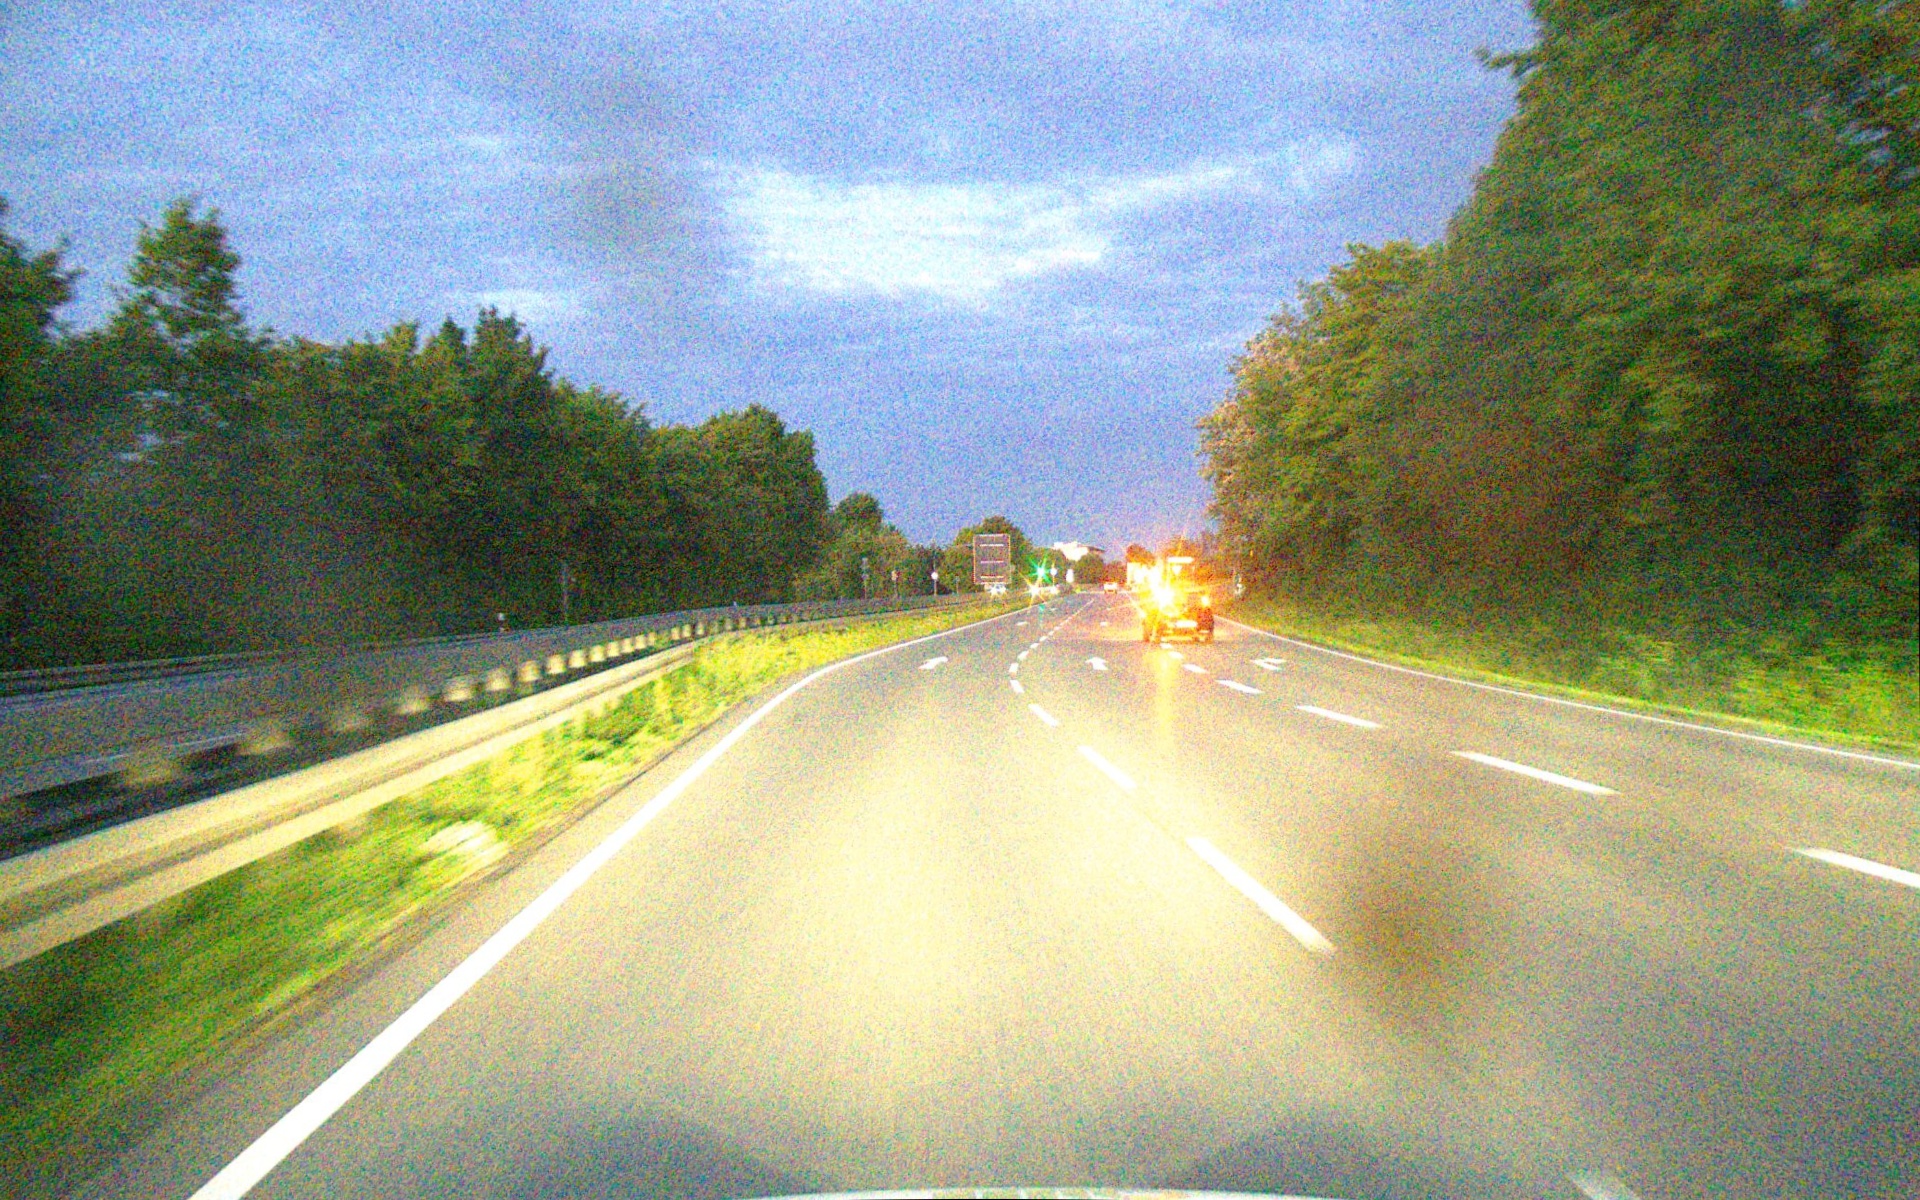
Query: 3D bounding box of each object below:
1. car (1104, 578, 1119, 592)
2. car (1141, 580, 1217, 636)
[{"bbox_3d":[21.923,-2.179,240.128,1.952,1.780,4.002,-5,-1,4],"label":"car"},{"bbox_3d":[6.109,0.193,46.607,1.716,1.478,4.435,-1,1,2],"label":"car"}]
